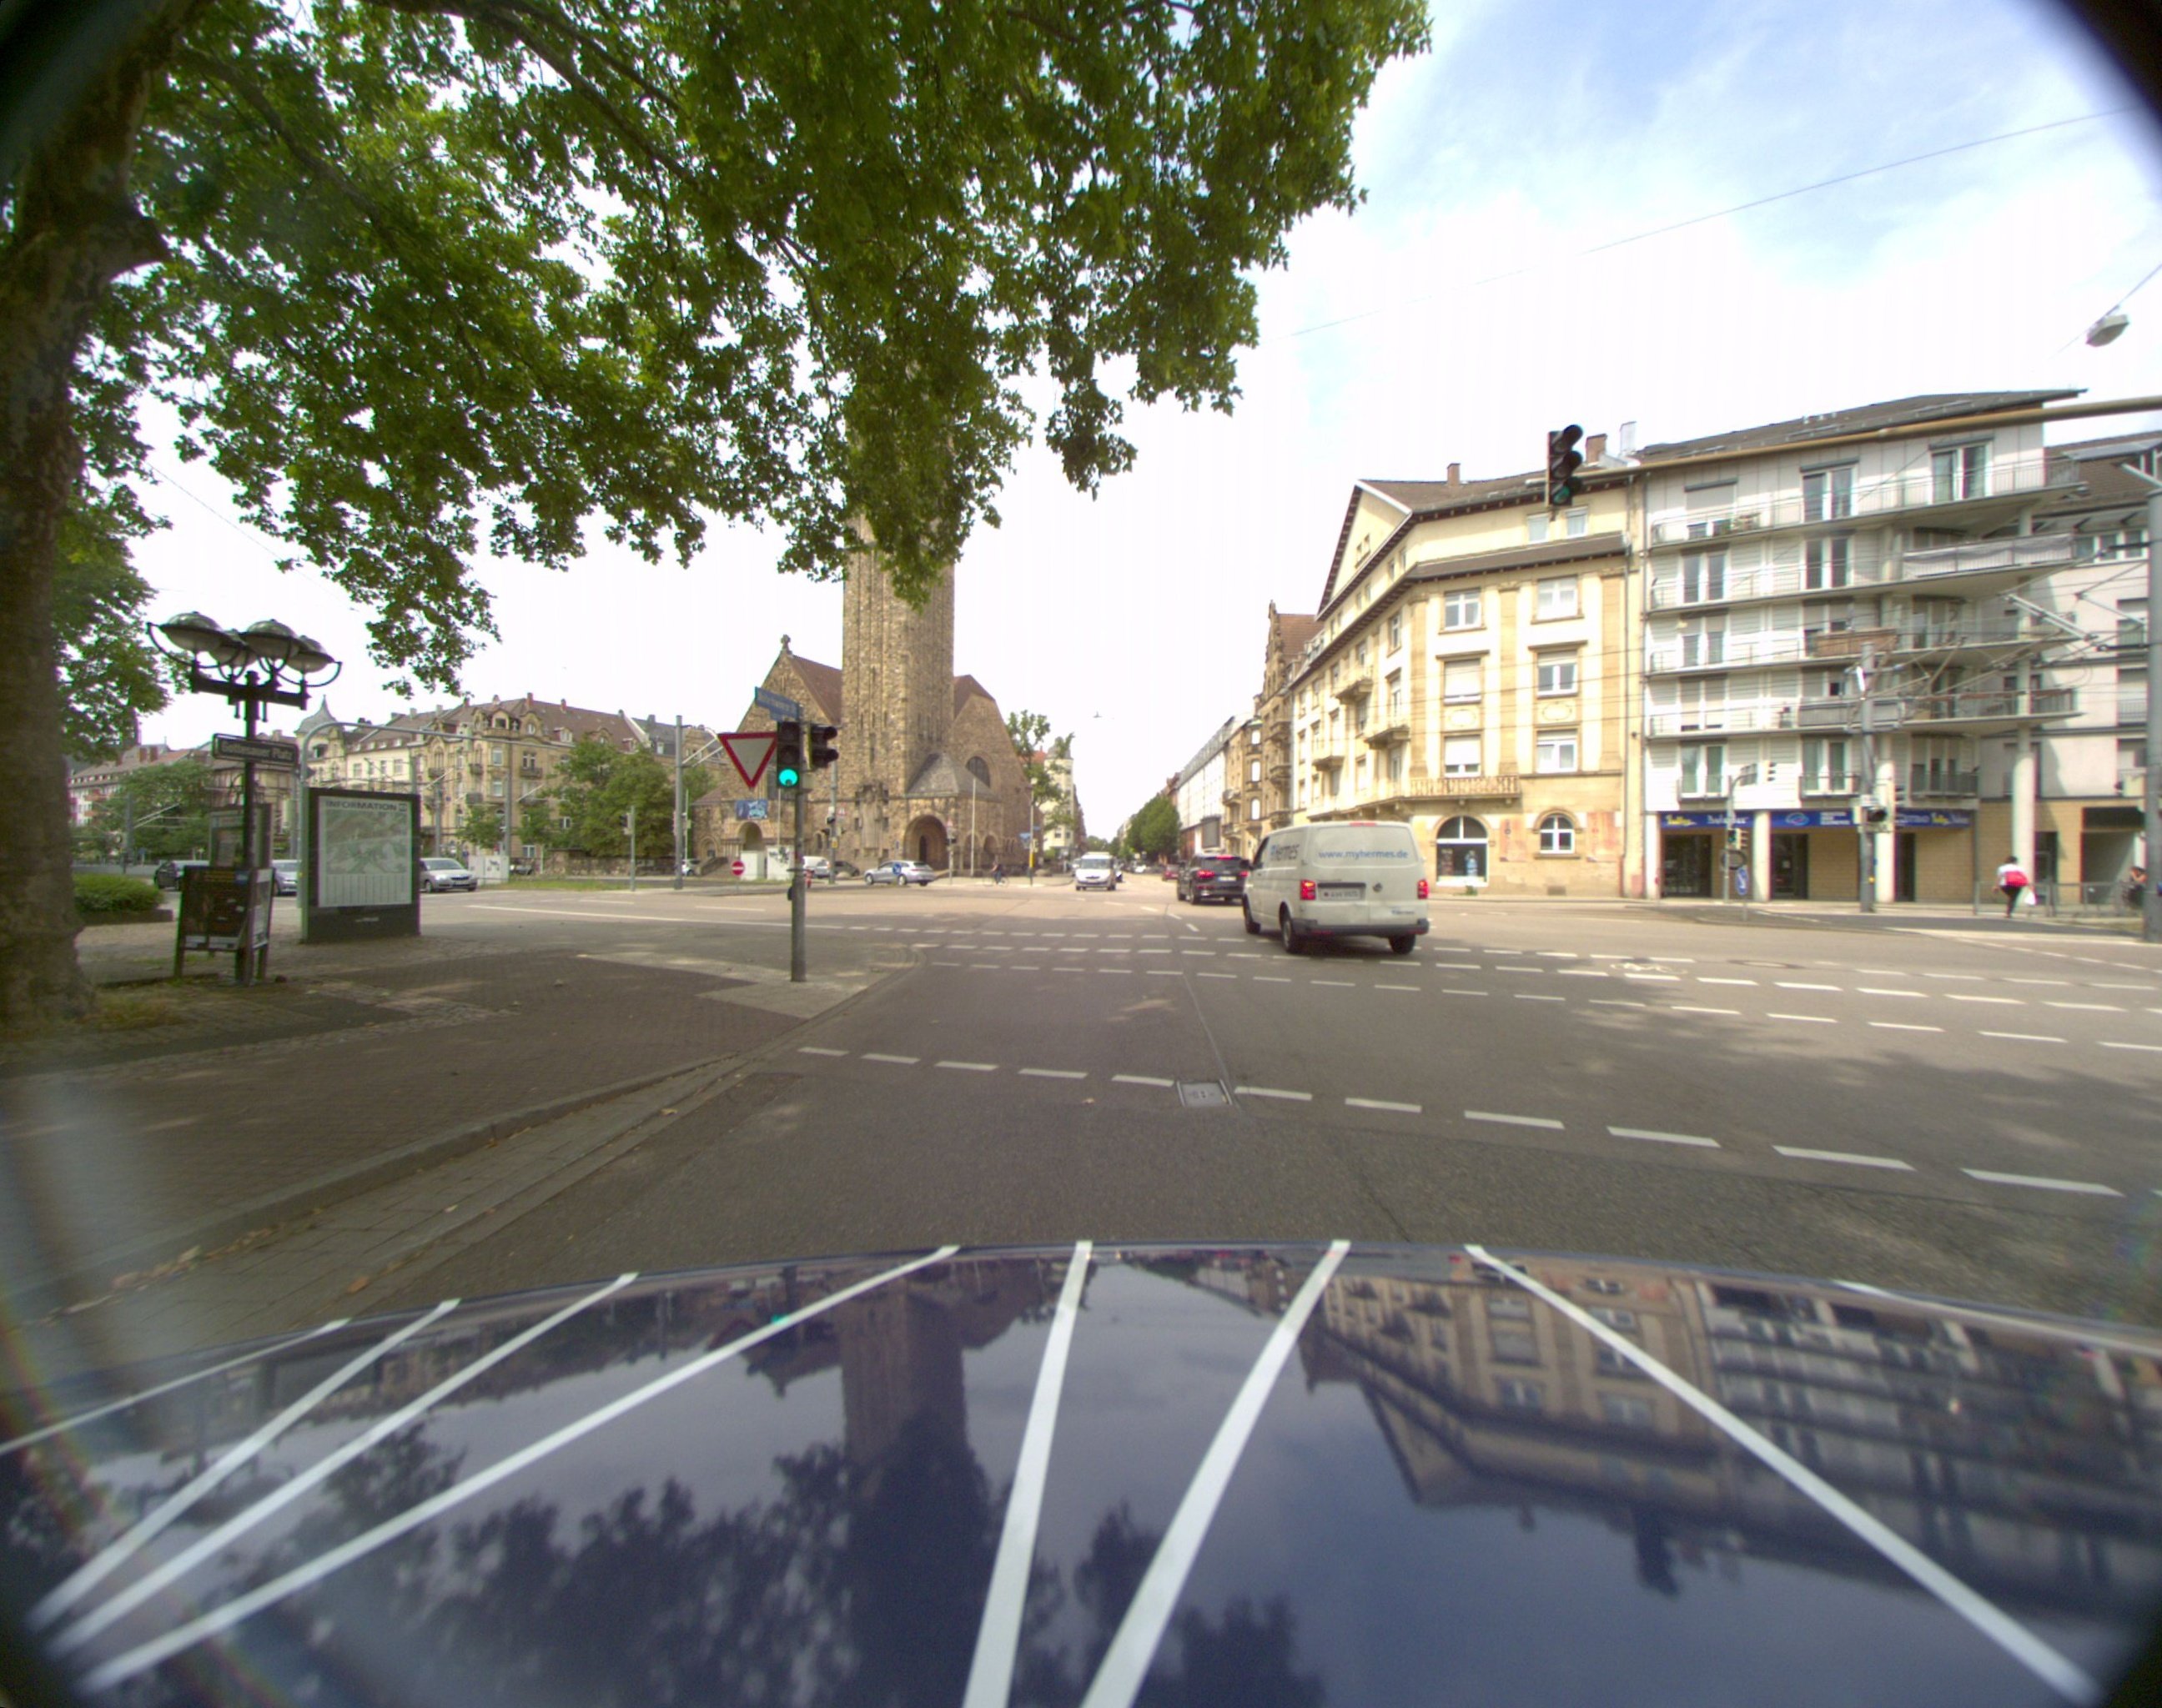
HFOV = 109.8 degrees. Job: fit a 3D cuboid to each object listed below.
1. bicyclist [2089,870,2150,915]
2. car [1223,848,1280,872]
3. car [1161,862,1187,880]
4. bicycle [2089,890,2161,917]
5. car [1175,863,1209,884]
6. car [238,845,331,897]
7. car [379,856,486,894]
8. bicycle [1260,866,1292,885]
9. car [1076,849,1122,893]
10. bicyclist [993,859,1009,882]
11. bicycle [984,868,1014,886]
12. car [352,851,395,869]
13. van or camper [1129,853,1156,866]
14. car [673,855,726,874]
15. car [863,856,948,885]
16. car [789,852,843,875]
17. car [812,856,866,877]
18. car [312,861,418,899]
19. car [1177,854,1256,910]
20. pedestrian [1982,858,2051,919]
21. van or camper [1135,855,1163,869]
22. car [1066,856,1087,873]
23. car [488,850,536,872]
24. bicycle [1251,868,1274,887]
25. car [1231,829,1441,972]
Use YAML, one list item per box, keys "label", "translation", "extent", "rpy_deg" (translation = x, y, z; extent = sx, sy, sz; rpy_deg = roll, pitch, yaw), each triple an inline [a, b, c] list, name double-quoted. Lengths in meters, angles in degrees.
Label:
- label: "bicyclist"
  translation: [34.241, 1.258, 25.062]
  extent: [0.998, 1.435, 0.642]
  rpy_deg: [0, 0, 26]
- label: "car"
  translation: [12.446, 0.430, 55.451]
  extent: [4.043, 1.579, 1.755]
  rpy_deg: [-2, -2, -38]
- label: "car"
  translation: [8.294, 1.488, 67.951]
  extent: [1.768, 1.515, 4.000]
  rpy_deg: [2, 0, -1]
- label: "bicycle"
  translation: [34.585, 1.627, 24.891]
  extent: [1.786, 0.811, 0.653]
  rpy_deg: [0, 0, 25]
- label: "car"
  translation: [8.096, 1.417, 55.596]
  extent: [1.739, 1.423, 4.241]
  rpy_deg: [0, -1, -2]
- label: "car"
  translation: [-33.192, 0.650, 31.633]
  extent: [3.988, 2.002, 2.004]
  rpy_deg: [1, 1, 34]
- label: "car"
  translation: [-27.679, 0.867, 32.435]
  extent: [4.277, 1.502, 1.843]
  rpy_deg: [0, -1, 25]
- label: "bicycle"
  translation: [12.123, 1.340, 47.257]
  extent: [1.872, 1.185, 0.456]
  rpy_deg: [-1, -1, 21]
- label: "car"
  translation: [0.922, 0.794, 37.448]
  extent: [2.082, 2.039, 4.681]
  rpy_deg: [0, 0, 2]
- label: "bicyclist"
  translation: [-5.247, 1.087, 49.897]
  extent: [0.840, 1.488, 0.588]
  rpy_deg: [-1, 0, -24]
- label: "bicycle"
  translation: [-5.394, 1.490, 49.828]
  extent: [1.814, 1.079, 0.598]
  rpy_deg: [-1, 0, -24]
- label: "car"
  translation: [-78.414, 0.685, 84.215]
  extent: [3.990, 2.002, 2.004]
  rpy_deg: [0, 0, 24]
- label: "van or camper"
  translation: [9.939, 0.898, 122.839]
  extent: [4.000, 2.002, 1.999]
  rpy_deg: [0, 0, -7]
- label: "car"
  translation: [-35.130, 0.968, 70.014]
  extent: [1.995, 1.631, 3.962]
  rpy_deg: [0, 0, 26]
- label: "car"
  translation: [-9.936, 0.911, 42.918]
  extent: [4.833, 1.515, 1.773]
  rpy_deg: [0, 0, 33]
- label: "car"
  translation: [-22.168, 0.823, 63.714]
  extent: [1.995, 1.870, 3.962]
  rpy_deg: [0, 0, 26]
- label: "car"
  translation: [-19.729, 1.005, 62.029]
  extent: [1.995, 1.641, 4.008]
  rpy_deg: [0, 0, 26]
- label: "car"
  translation: [-27.731, 0.974, 29.407]
  extent: [4.276, 1.375, 1.843]
  rpy_deg: [0, -1, 30]
- label: "car"
  translation: [4.271, 0.842, 24.595]
  extent: [1.827, 1.637, 4.428]
  rpy_deg: [-1, 0, 1]
- label: "pedestrian"
  translation: [24.354, 0.891, 19.806]
  extent: [0.837, 1.542, 0.869]
  rpy_deg: [0, -1, 25]
- label: "van or camper"
  translation: [10.141, 1.160, 114.090]
  extent: [3.997, 2.002, 2.000]
  rpy_deg: [0, 0, -2]
- label: "car"
  translation: [-0.492, 1.129, 82.658]
  extent: [2.082, 1.852, 4.681]
  rpy_deg: [0, 0, 2]
- label: "car"
  translation: [-53.330, 0.649, 71.242]
  extent: [3.989, 2.002, 2.004]
  rpy_deg: [0, 0, 26]
- label: "bicycle"
  translation: [11.770, 1.500, 49.253]
  extent: [1.345, 1.185, 0.397]
  rpy_deg: [-2, 0, -2]
- label: "car"
  translation: [3.956, 0.658, 12.801]
  extent: [1.928, 1.925, 4.948]
  rpy_deg: [-1, 0, 1]
